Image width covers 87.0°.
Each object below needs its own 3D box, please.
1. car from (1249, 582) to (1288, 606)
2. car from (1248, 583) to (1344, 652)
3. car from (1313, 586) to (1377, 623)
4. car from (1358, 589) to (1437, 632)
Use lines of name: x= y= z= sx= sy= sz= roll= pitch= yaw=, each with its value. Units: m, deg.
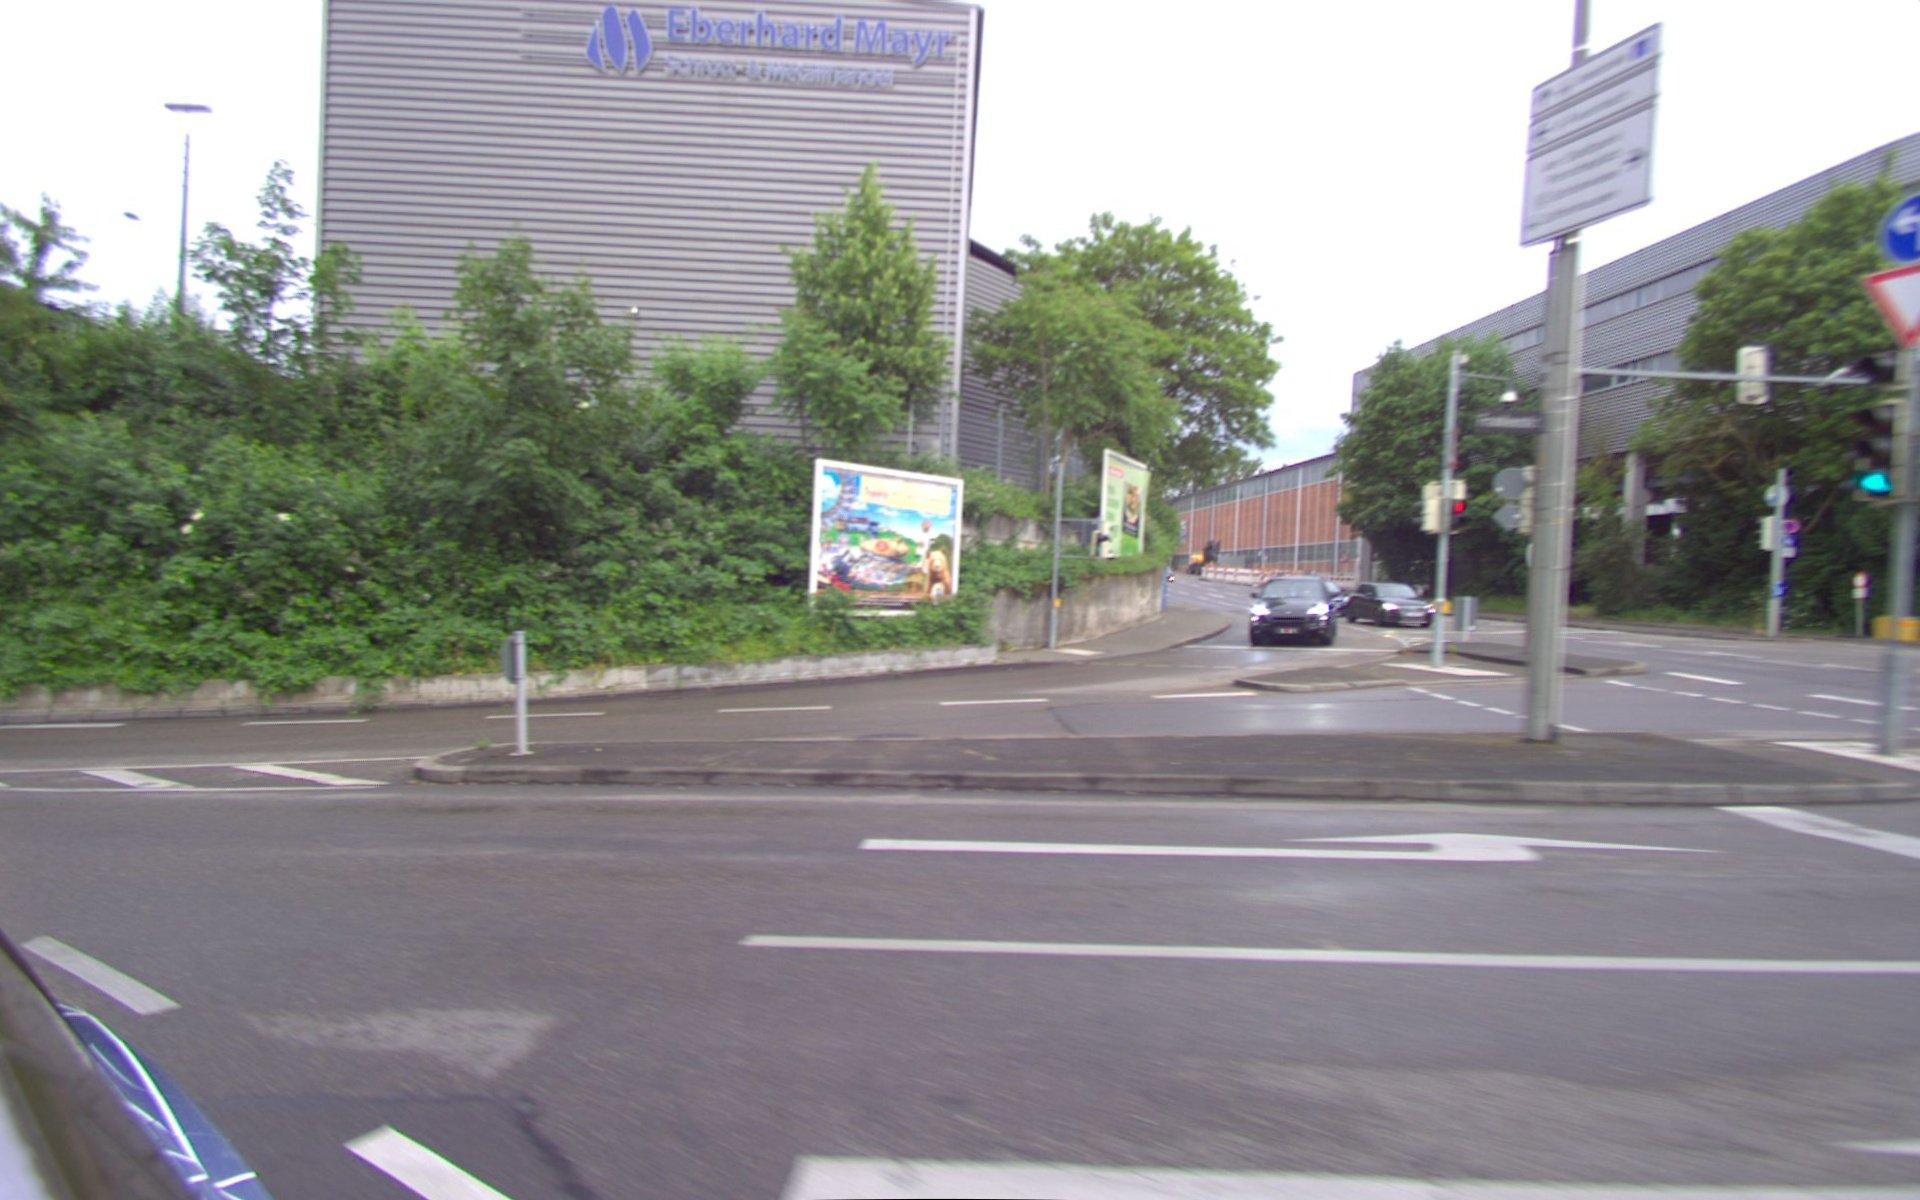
car: x=18.573 y=-0.384 z=61.069 sx=1.734 sy=1.380 sz=3.746 roll=-1 pitch=1 yaw=9
car: x=8.678 y=0.378 z=25.922 sx=1.941 sy=1.555 sz=4.177 roll=0 pitch=1 yaw=24
car: x=15.285 y=0.144 z=40.329 sx=1.735 sy=1.380 sz=3.743 roll=-1 pitch=1 yaw=11
car: x=14.273 y=0.316 z=33.193 sx=1.581 sy=1.269 sz=3.743 roll=-1 pitch=1 yaw=11
